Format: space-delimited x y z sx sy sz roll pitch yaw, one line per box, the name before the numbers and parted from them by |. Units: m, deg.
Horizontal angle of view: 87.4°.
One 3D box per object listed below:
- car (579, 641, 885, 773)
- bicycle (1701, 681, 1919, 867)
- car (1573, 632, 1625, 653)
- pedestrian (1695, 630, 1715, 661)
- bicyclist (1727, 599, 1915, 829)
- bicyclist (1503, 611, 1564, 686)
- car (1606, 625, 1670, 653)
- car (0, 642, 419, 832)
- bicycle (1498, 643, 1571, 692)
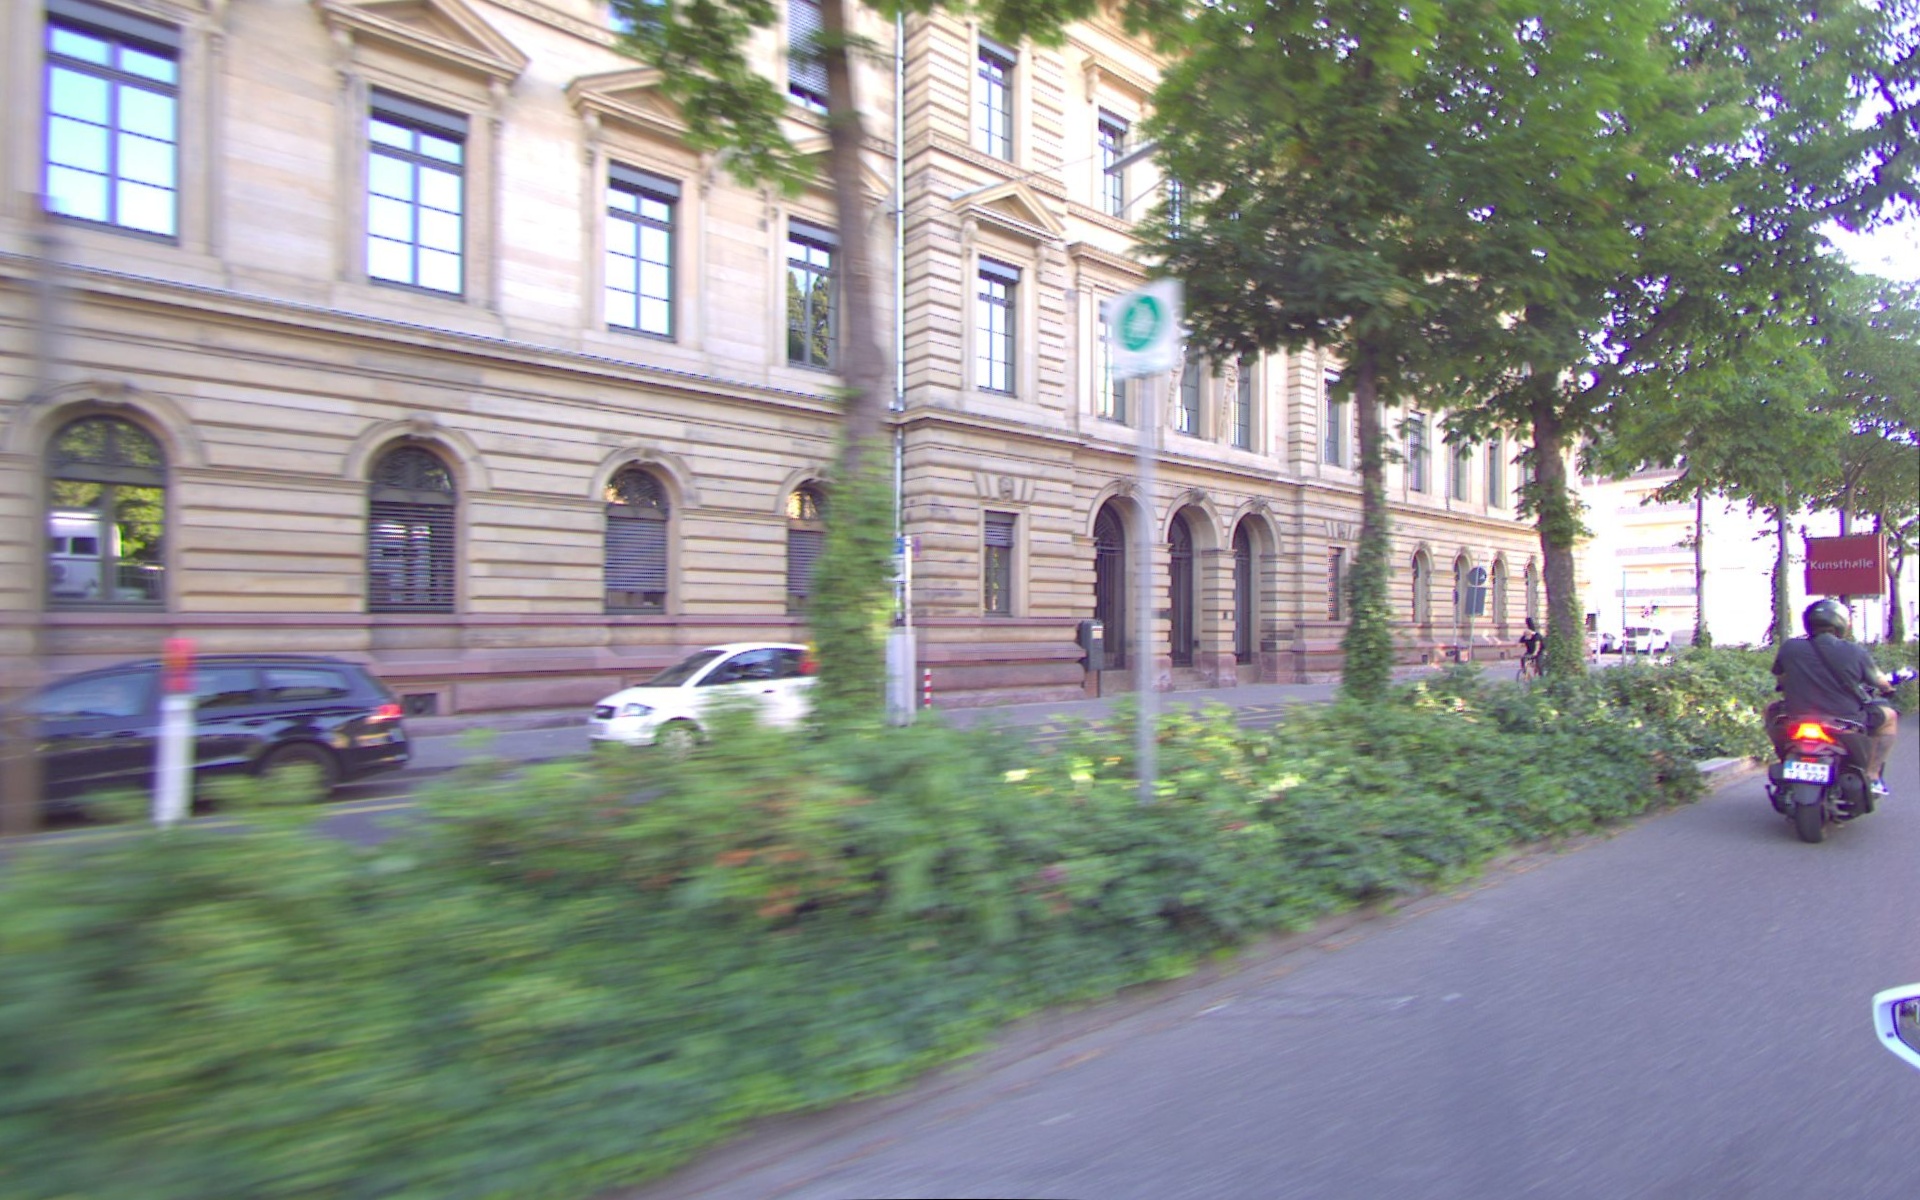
car | -3.059 1.353 13.860 3.815 1.527 1.654 1 -2 -40
bicycle | 6.433 1.200 7.533 2.433 1.056 0.863 1 -1 -40
car | 41.880 2.784 65.818 3.962 1.327 1.595 1 -2 -36
pedestrian | 39.844 2.431 53.733 0.810 1.605 0.627 1 1 -37
bicyclist | 6.453 0.782 7.522 1.221 1.543 0.860 1 0 -40
bicyclist | 14.736 1.262 25.808 1.275 1.858 0.874 2 -5 -39
car | 43.227 2.458 64.031 4.571 1.708 1.980 1 -2 -37
car | -7.899 1.213 9.543 4.605 1.527 1.864 1 -4 -40
bicycle | 14.776 1.728 25.809 2.157 1.209 0.874 2 -5 -40
